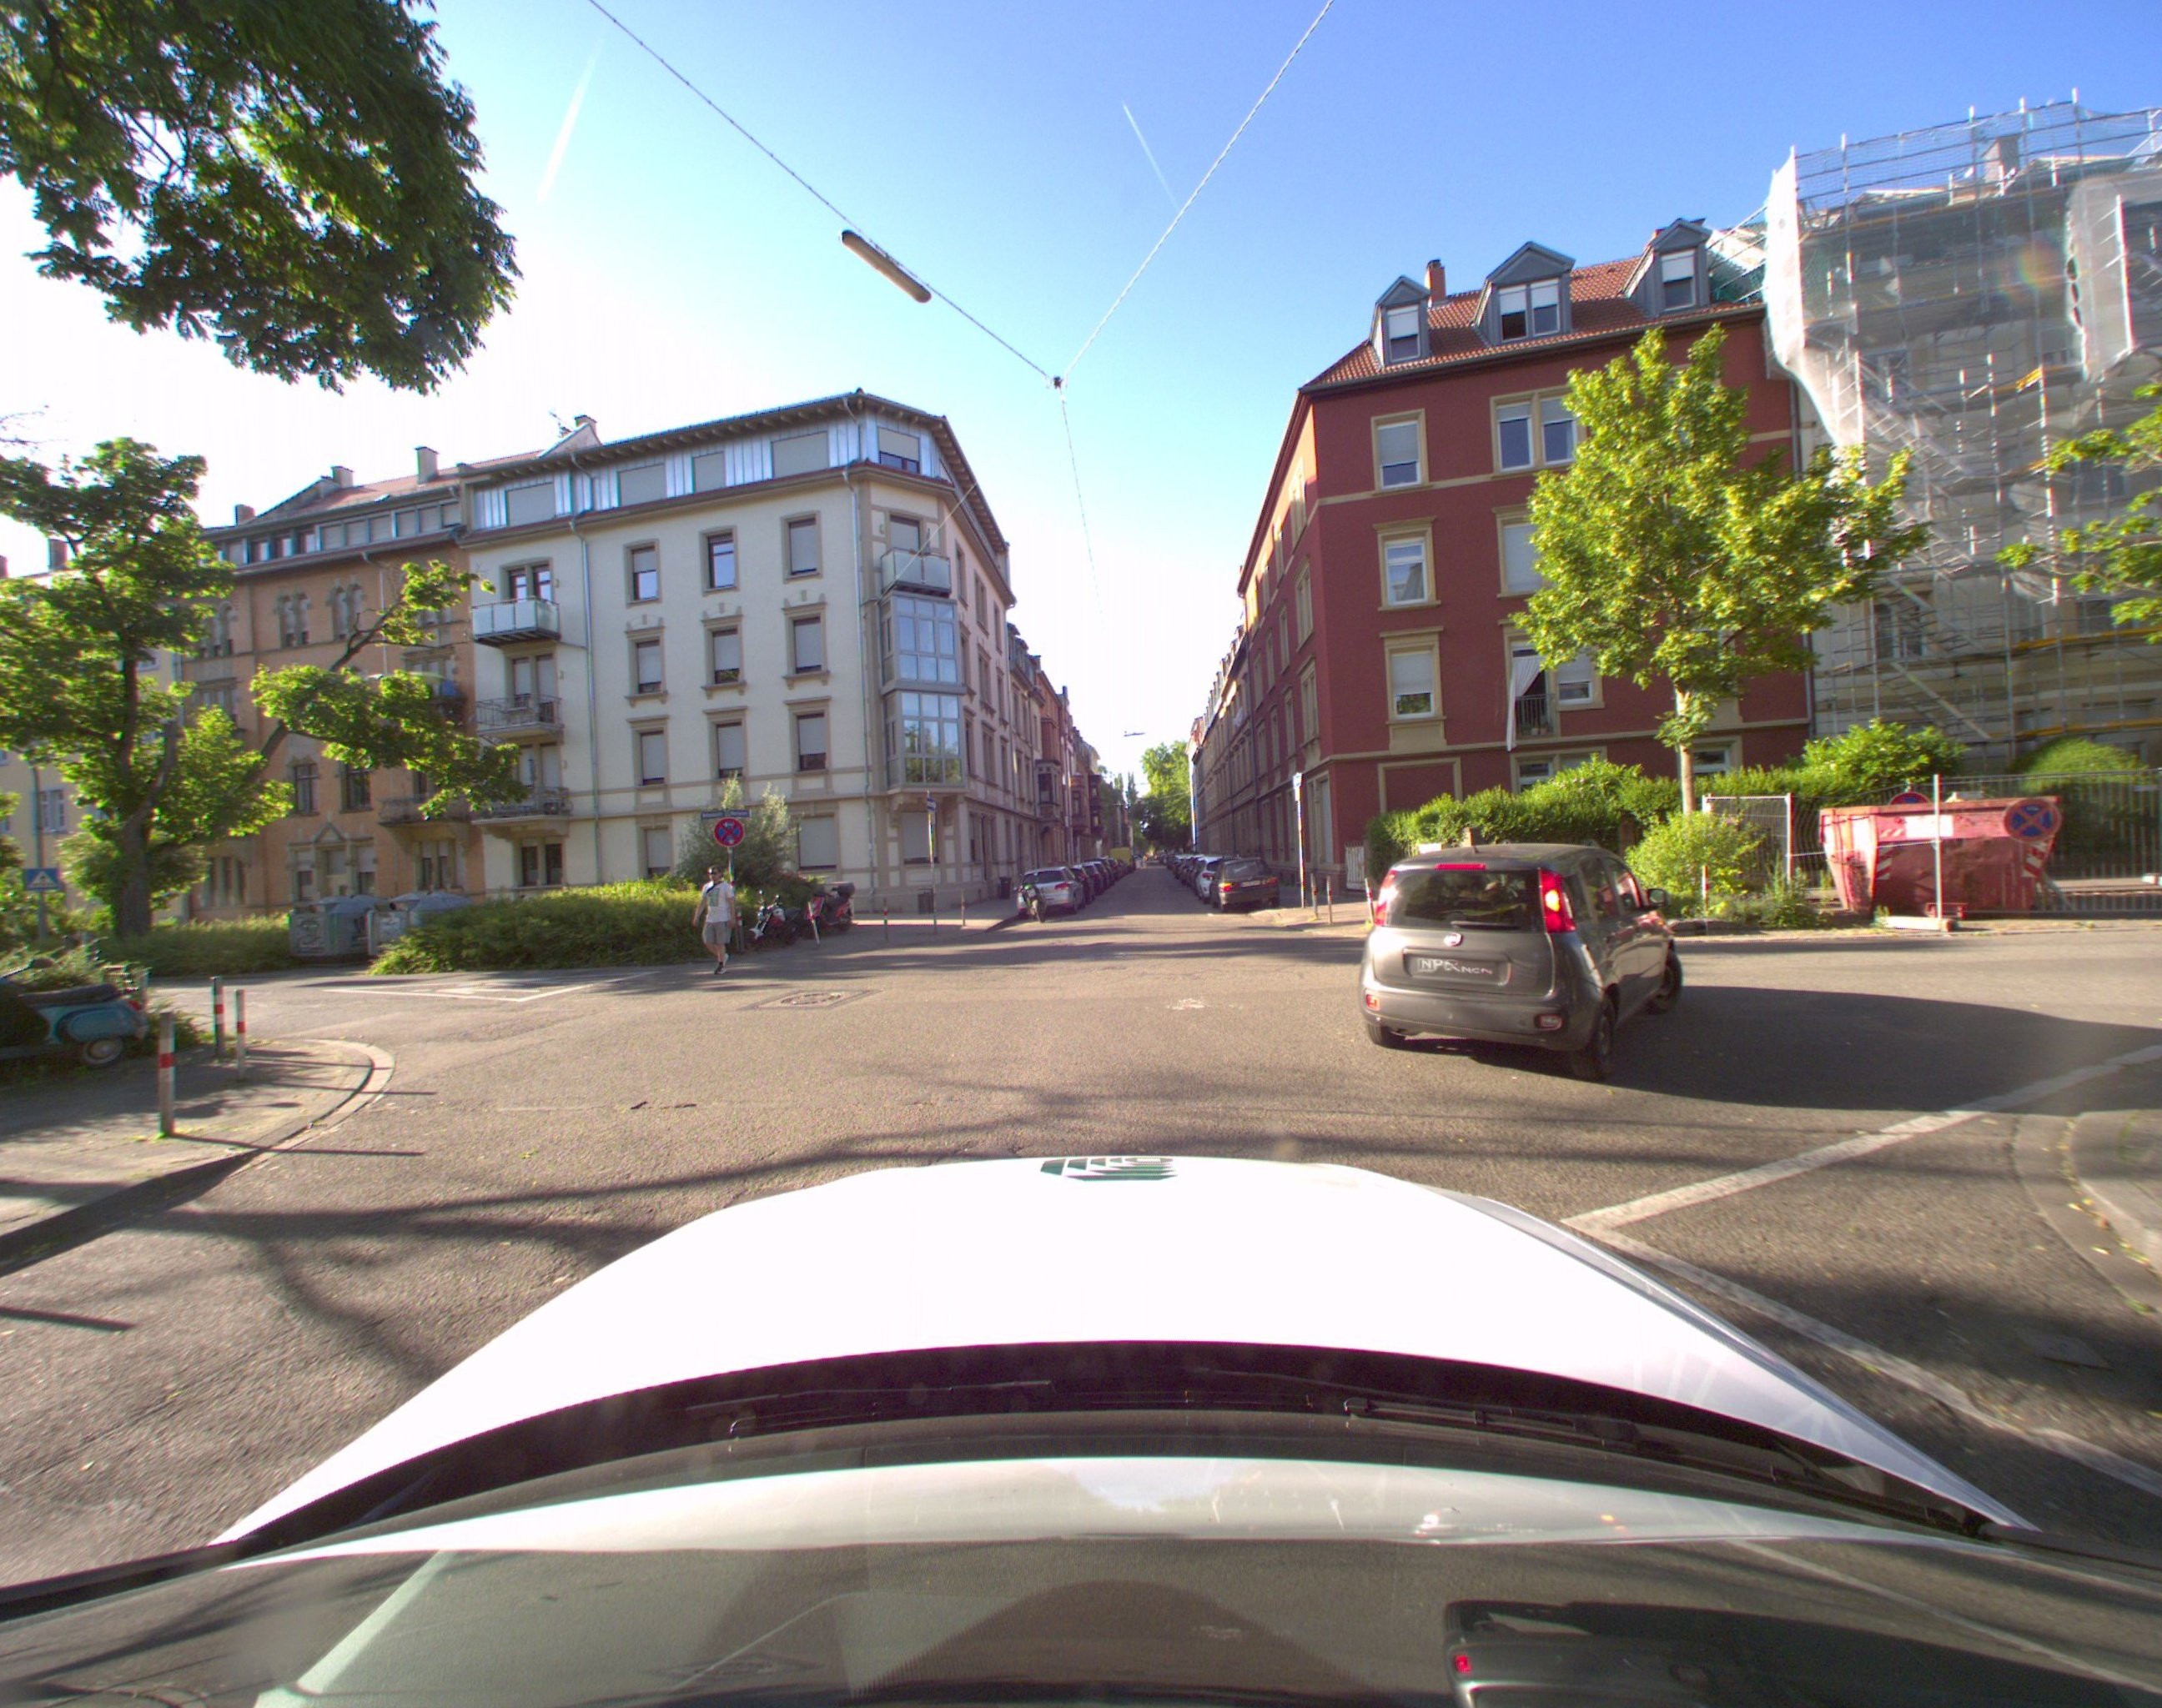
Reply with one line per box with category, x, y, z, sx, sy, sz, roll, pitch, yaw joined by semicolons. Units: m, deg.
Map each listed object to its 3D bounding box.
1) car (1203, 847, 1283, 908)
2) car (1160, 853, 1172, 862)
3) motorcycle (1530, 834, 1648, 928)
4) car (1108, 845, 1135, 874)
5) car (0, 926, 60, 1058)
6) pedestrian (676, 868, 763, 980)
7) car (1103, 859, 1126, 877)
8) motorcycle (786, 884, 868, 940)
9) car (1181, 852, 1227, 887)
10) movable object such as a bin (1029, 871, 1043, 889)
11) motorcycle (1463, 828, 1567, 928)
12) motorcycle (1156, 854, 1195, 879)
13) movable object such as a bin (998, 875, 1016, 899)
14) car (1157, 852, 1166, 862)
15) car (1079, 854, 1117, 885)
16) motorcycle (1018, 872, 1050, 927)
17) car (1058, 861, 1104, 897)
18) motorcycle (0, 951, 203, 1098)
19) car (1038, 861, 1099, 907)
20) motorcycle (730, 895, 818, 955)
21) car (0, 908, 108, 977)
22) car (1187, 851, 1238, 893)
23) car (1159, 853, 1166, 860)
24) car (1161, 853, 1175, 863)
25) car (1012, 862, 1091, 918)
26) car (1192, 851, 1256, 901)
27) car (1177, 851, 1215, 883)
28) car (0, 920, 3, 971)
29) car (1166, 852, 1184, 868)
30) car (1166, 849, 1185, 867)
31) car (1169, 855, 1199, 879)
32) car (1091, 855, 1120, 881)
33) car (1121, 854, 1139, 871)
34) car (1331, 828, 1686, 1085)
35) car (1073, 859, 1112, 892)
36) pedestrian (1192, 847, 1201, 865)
car;4.457;0.613;22.864;1.661;1.483;3.710;-3;0;4
car;15.306;0.664;146.914;1.886;1.625;4.004;-3;-1;4
motorcycle;8.519;0.414;13.813;0.863;1.404;2.552;-4;-1;13
car;3.951;0.506;78.676;2.165;2.507;5.886;-6;0;5
car;-15.354;1.836;9.941;4.104;1.575;1.891;-3;-1;12
pedestrian;-6.036;1.145;13.644;0.797;1.746;1.009;-4;-1;11
car;2.771;1.130;67.317;1.611;1.326;3.616;-6;-1;4
motorcycle;-6.084;1.370;19.651;0.606;1.196;2.056;-4;-1;24
car;5.722;0.676;38.300;1.652;1.479;4.028;-4;0;3
movable object such as a bin;-2.391;1.383;43.235;0.609;0.920;0.735;-3;-1;4
motorcycle;7.407;0.353;14.070;0.866;1.525;2.632;-4;1;13
motorcycle;5.884;0.766;50.702;2.227;1.536;0.884;-1;0;-21
movable object such as a bin;-3.084;1.368;33.846;0.618;0.956;0.511;-2;-1;4
car;19.485;0.797;197.273;2.151;2.255;4.530;-4;-1;4
car;1.014;0.864;46.935;1.752;1.617;4.196;-4;0;6
motorcycle;-1.273;1.209;22.339;0.675;1.334;1.999;-6;0;-2
car;0.048;1.076;36.675;1.773;1.403;3.746;-3;0;4
motorcycle;-9.523;1.568;7.485;0.539;1.102;1.903;-4;0;14
car;-0.391;1.057;30.418;1.772;1.483;3.748;-3;0;6
motorcycle;-6.525;1.492;17.422;0.634;1.090;1.880;-4;-1;20
car;-35.476;2.992;26.171;1.979;2.013;4.930;-4;0;15
car;5.254;0.676;32.941;1.668;1.503;4.075;-3;0;6
car;23.538;0.672;234.793;1.984;1.728;4.005;-4;0;5
car;13.407;0.592;125.684;1.717;1.522;4.002;-4;0;2
car;-0.845;1.071;25.606;1.771;1.483;3.940;-3;0;7
car;4.720;0.687;27.383;1.697;1.462;3.975;-3;0;5
car;6.040;0.642;43.236;1.753;1.484;4.408;-4;0;6
car;-38.372;2.724;25.551;2.115;2.705;4.927;-4;0;12
car;9.955;0.615;86.240;1.745;1.452;4.295;-8;0;6
car;10.619;0.389;91.649;1.746;1.786;4.730;-6;0;5
car;6.725;0.819;53.594;1.768;1.397;4.324;-3;0;6
car;1.719;0.930;56.595;1.773;1.606;4.073;-3;0;4
car;5.568;0.927;93.288;1.811;1.766;4.338;-3;0;2
car;3.672;0.603;6.697;1.618;1.483;3.554;-4;0;43
car;0.655;1.071;41.755;1.636;1.455;3.843;-6;0;4
pedestrian;10.988;0.165;77.629;0.649;1.630;0.882;-5;-1;8
